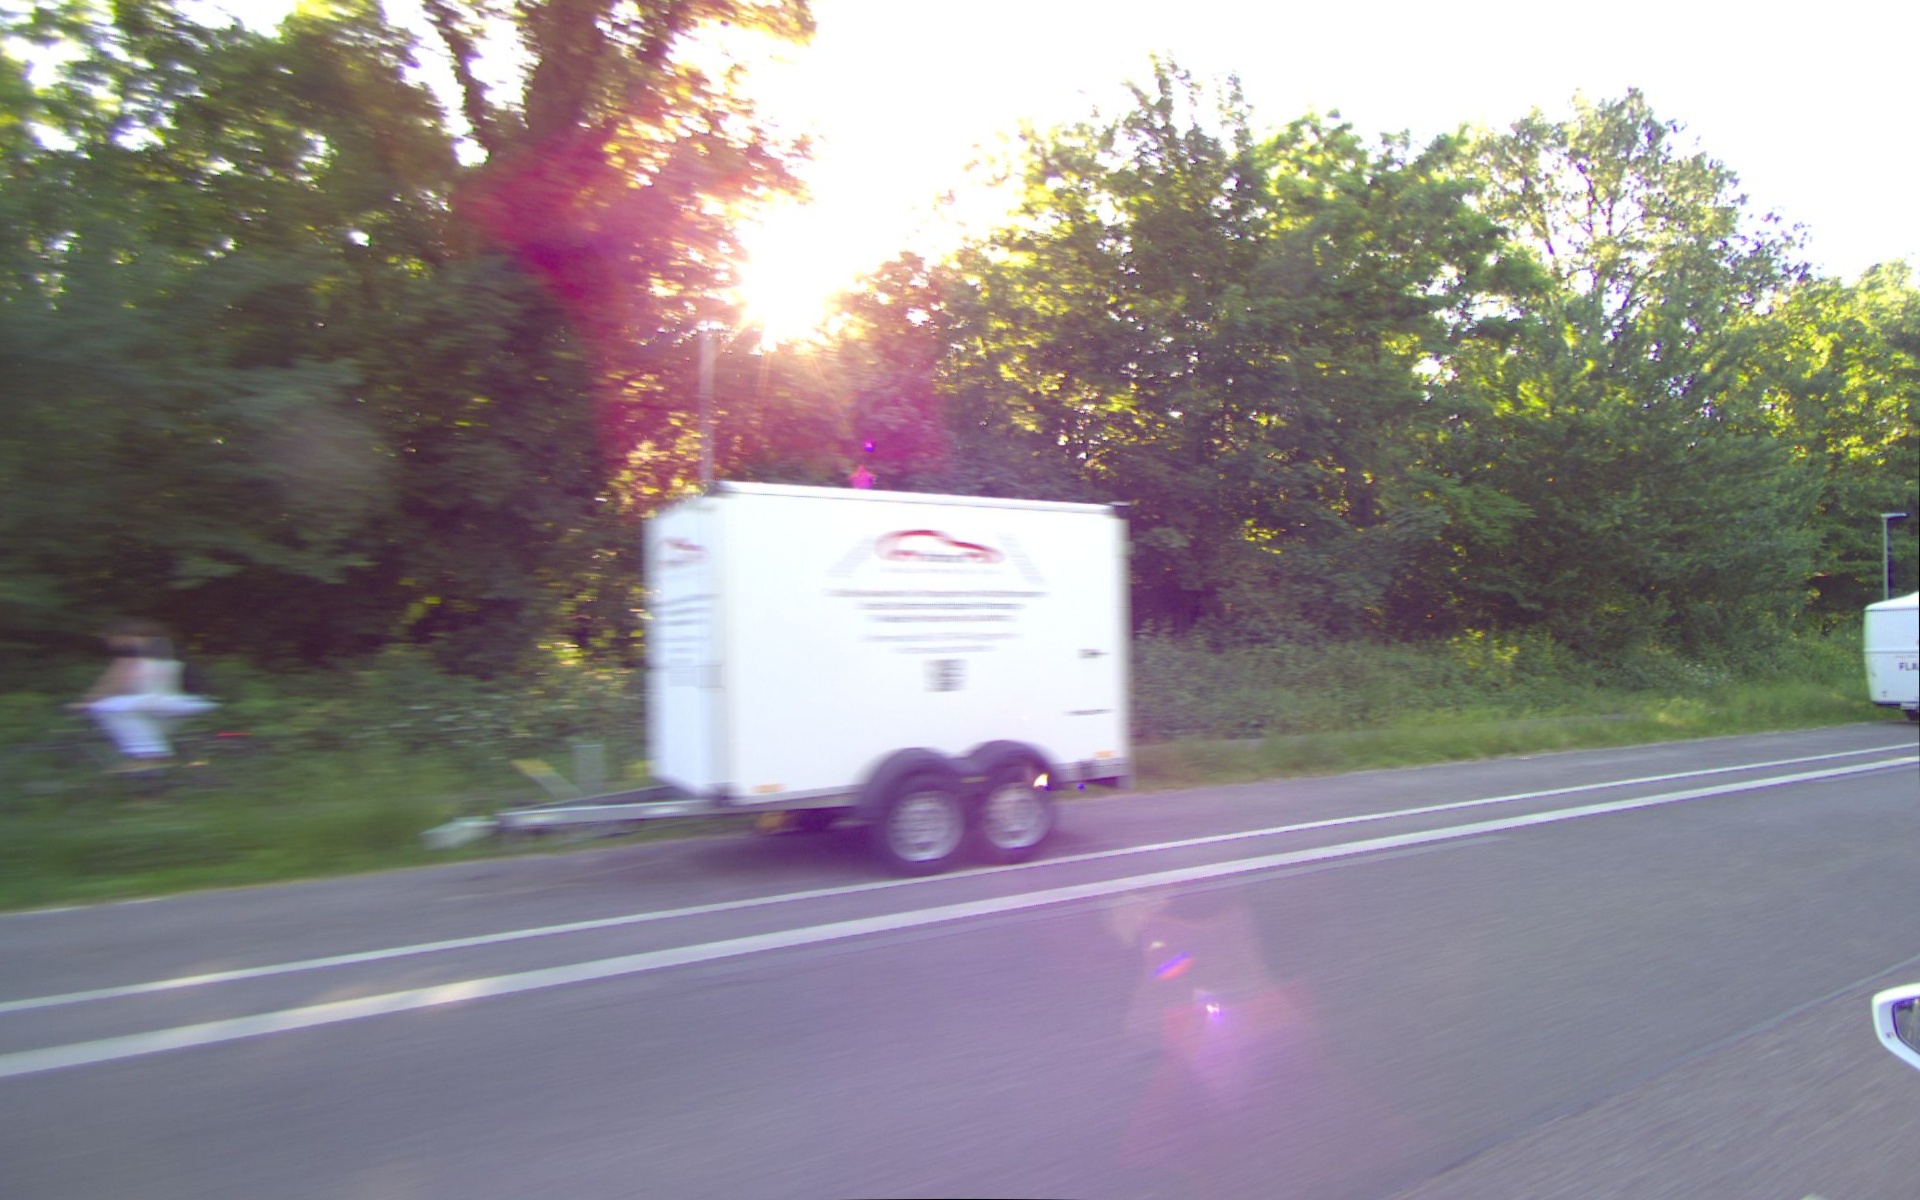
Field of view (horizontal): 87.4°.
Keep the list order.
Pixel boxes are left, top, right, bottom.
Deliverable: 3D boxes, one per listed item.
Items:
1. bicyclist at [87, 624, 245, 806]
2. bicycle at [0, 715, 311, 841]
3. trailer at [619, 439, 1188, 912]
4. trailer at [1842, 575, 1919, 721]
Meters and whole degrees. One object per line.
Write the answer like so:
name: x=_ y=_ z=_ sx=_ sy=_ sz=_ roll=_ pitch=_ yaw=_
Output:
bicyclist: x=-6.490 y=0.908 z=8.261 sx=0.894 sy=1.382 sz=0.668 roll=2 pitch=0 yaw=-30
bicycle: x=-6.573 y=1.411 z=8.206 sx=2.074 sy=0.812 sz=0.668 roll=2 pitch=0 yaw=-30
trailer: x=-0.361 y=0.453 z=7.195 sx=3.524 sy=2.513 sz=2.054 roll=1 pitch=-1 yaw=-34
trailer: x=18.662 y=0.886 z=18.730 sx=4.299 sy=2.562 sz=2.332 roll=1 pitch=-2 yaw=-34
